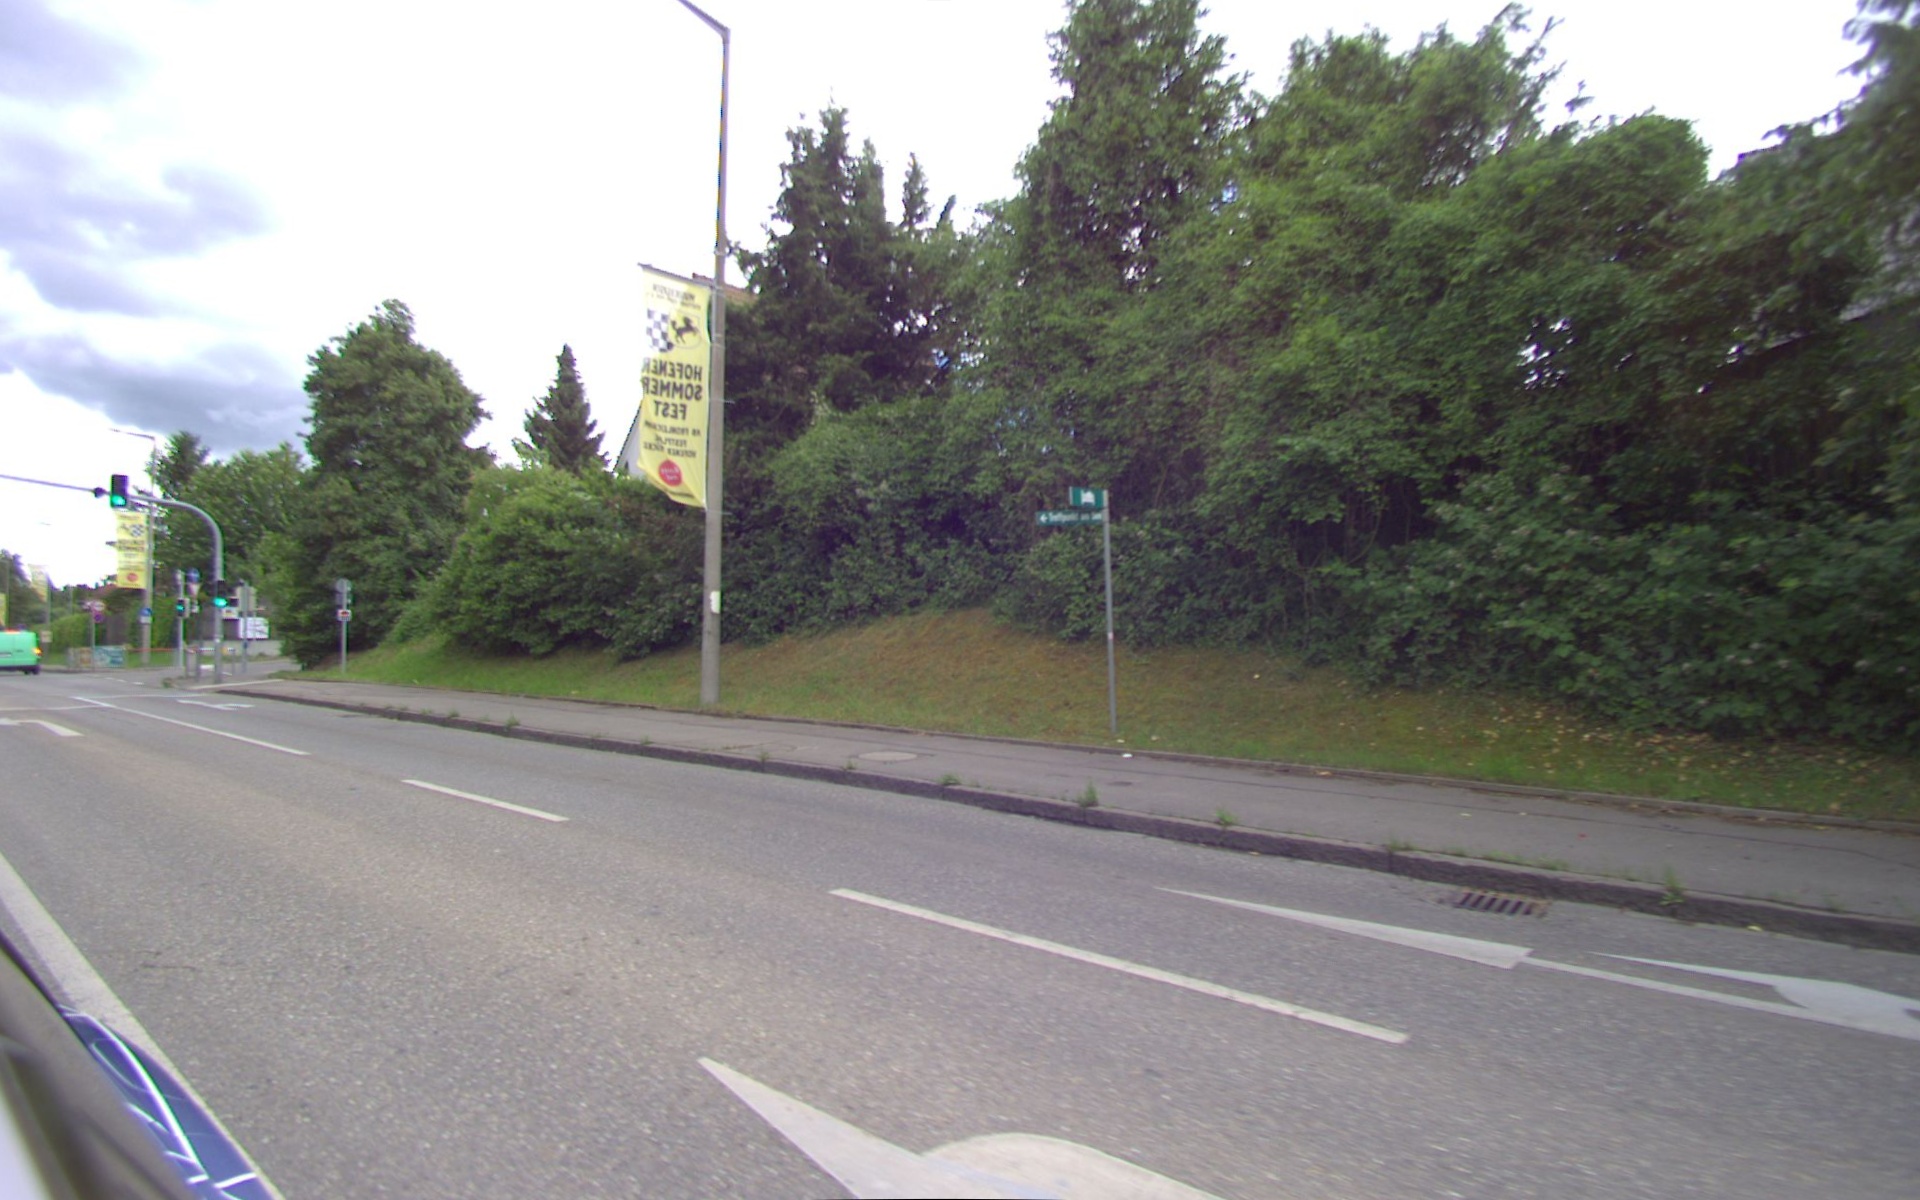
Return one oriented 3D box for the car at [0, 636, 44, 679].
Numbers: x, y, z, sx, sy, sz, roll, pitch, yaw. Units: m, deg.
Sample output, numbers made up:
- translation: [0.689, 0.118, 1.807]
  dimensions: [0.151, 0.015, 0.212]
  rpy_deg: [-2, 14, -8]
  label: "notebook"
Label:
- translation: [-41.689, 2.486, 44.121]
  dimensions: [4.727, 1.824, 2.037]
  rpy_deg: [-2, -4, 42]
  label: "car"
